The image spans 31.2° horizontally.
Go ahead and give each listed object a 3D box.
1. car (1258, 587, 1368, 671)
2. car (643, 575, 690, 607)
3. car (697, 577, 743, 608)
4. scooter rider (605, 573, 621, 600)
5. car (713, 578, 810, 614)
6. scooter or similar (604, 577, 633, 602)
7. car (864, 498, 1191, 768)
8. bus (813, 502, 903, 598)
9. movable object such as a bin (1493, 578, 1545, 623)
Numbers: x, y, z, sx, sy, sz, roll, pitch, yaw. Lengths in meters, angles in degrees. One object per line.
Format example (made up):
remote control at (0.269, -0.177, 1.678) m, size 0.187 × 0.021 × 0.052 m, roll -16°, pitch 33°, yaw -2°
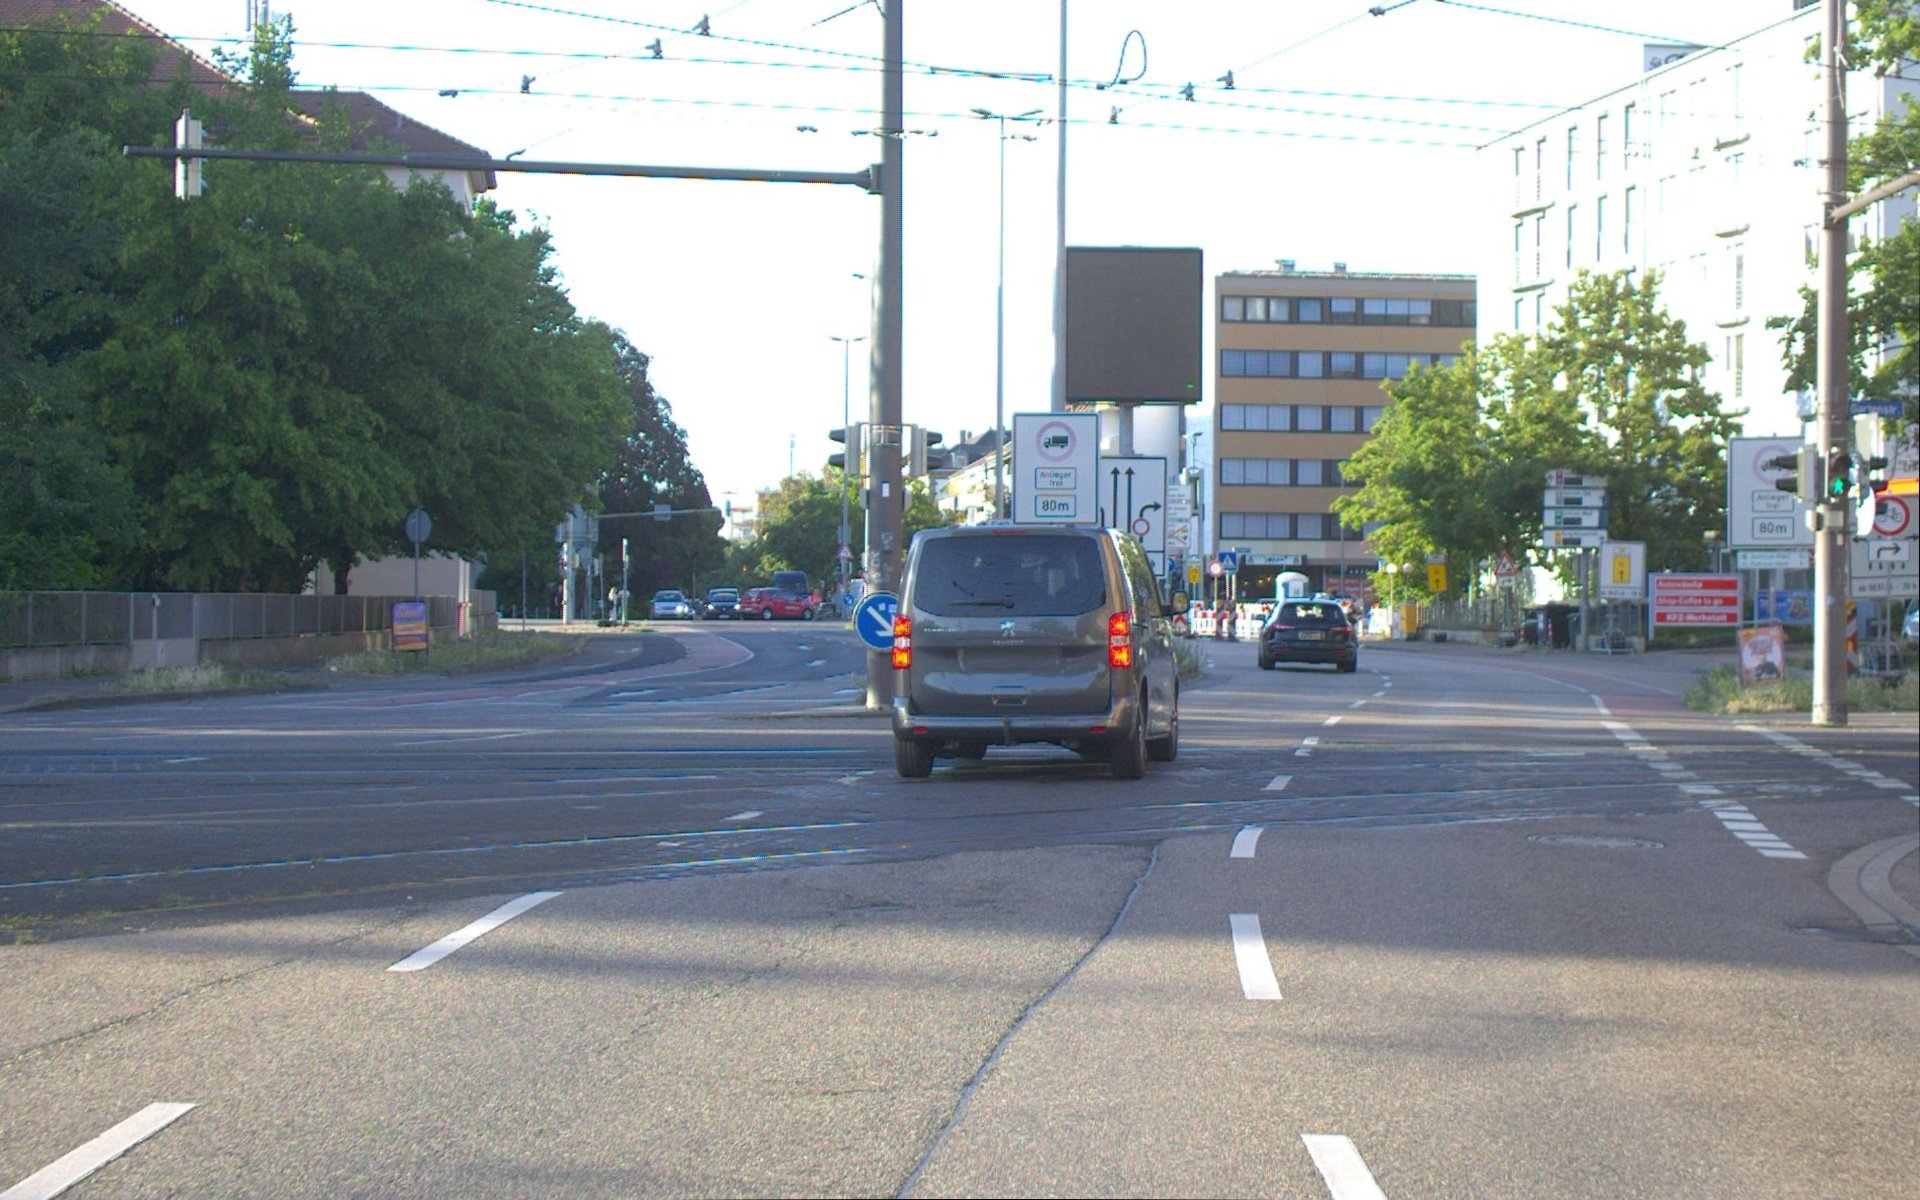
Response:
car at (6.802, 0.539, 66.593) m, size 1.845 × 1.539 × 3.631 m, roll 1°, pitch 1°, yaw 2°
car at (-15.297, -0.479, 179.158) m, size 1.993 × 1.590 × 4.000 m, roll 1°, pitch 1°, yaw 2°
car at (-12.503, -0.402, 179.472) m, size 1.993 × 1.590 × 4.000 m, roll 1°, pitch 1°, yaw 2°
scooter rider at (-14.022, -0.546, 138.889) m, size 0.509 × 1.032 × 0.446 m, roll 2°, pitch 0°, yaw -16°
car at (-9.138, -0.193, 158.167) m, size 3.986 × 1.590 × 2.001 m, roll 0°, pitch 1°, yaw -22°
scooter or similar at (-13.803, -0.430, 138.940) m, size 1.098 × 0.973 × 0.559 m, roll 2°, pitch 0°, yaw -15°
car at (0.628, 0.238, 27.103) m, size 1.994 × 1.894 × 4.297 m, roll 2°, pitch 0°, yaw 8°
bus at (-5.216, -2.476, 174.001) m, size 3.289 × 4.601 × 10.002 m, roll 2°, pitch 0°, yaw -8°
movable object such as a bin at (17.451, 0.022, 107.373) m, size 1.463 × 1.381 × 1.547 m, roll 0°, pitch 0°, yaw 3°
